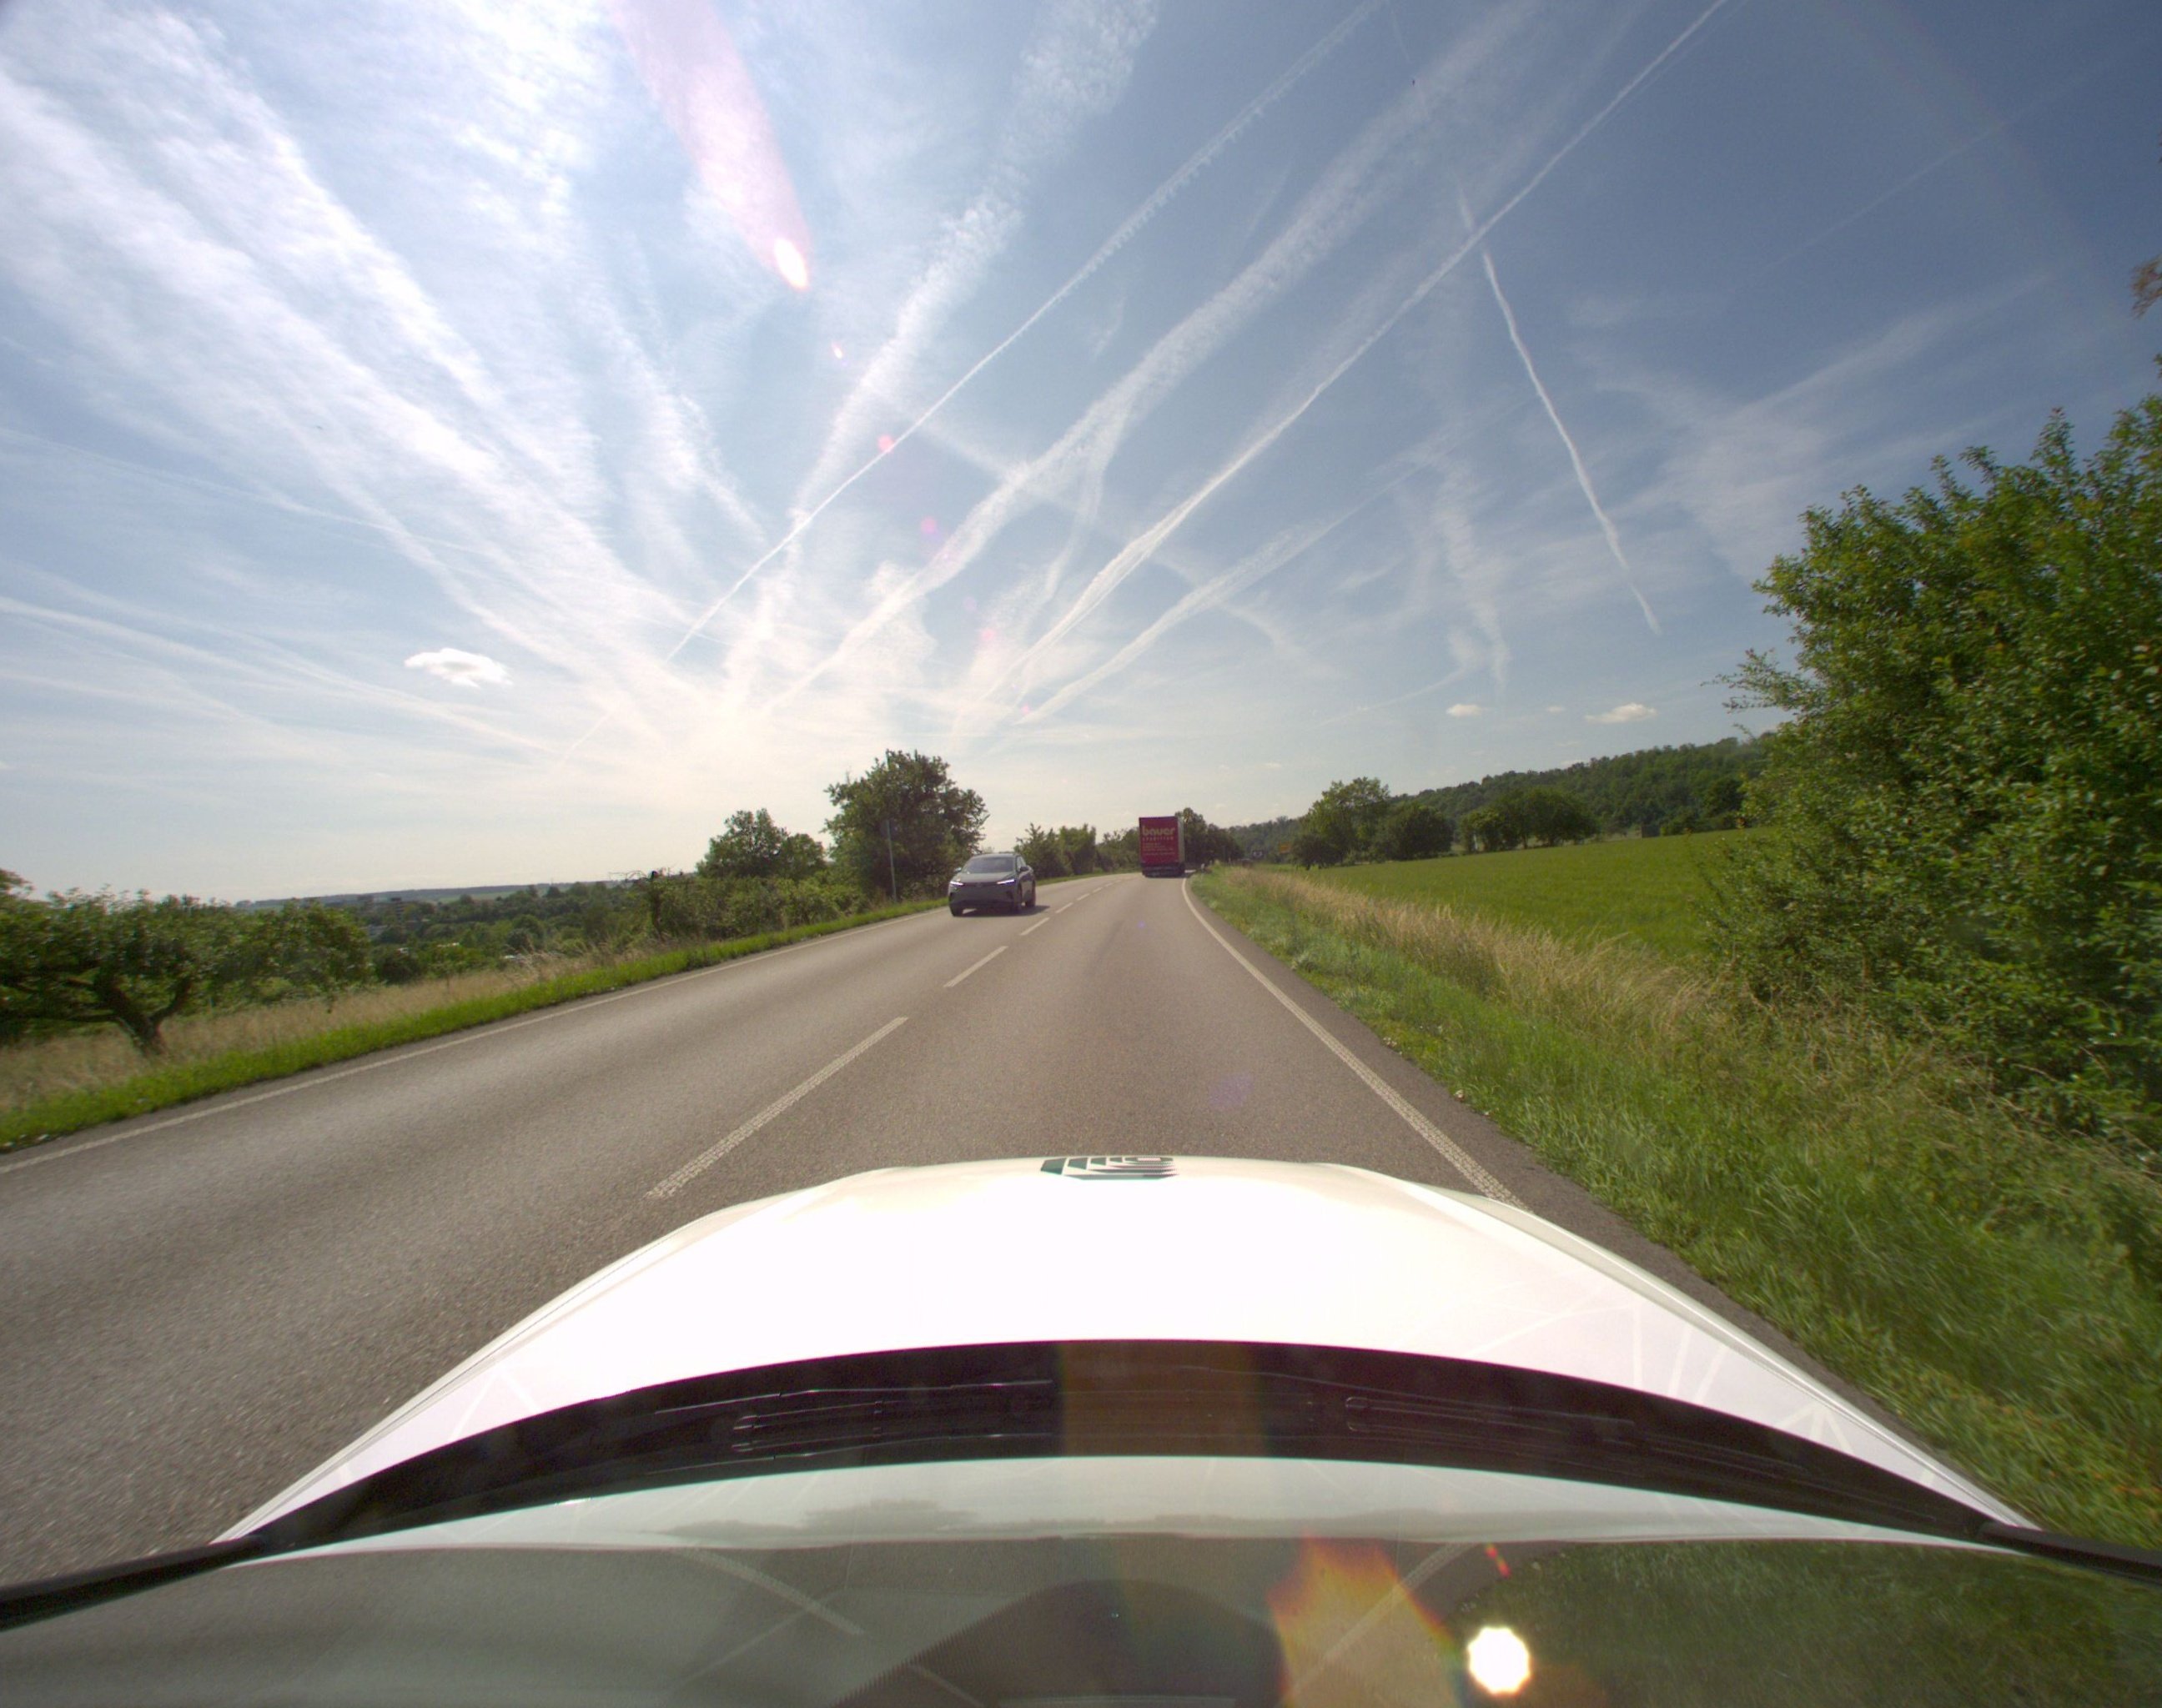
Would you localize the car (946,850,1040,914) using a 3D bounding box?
[{"bbox_3d":[-2.366,0.733,23.118,1.871,1.593,4.496,-2,0,3],"label":"car"}]

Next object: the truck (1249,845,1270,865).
[{"bbox_3d":[44.186,0.337,201.095,3.874,4.690,16.442,-3,-2,15],"label":"truck"}]

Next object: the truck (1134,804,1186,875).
[{"bbox_3d":[5.821,-0.822,58.156,3.095,4.506,12.194,0,-1,8],"label":"truck"}]
